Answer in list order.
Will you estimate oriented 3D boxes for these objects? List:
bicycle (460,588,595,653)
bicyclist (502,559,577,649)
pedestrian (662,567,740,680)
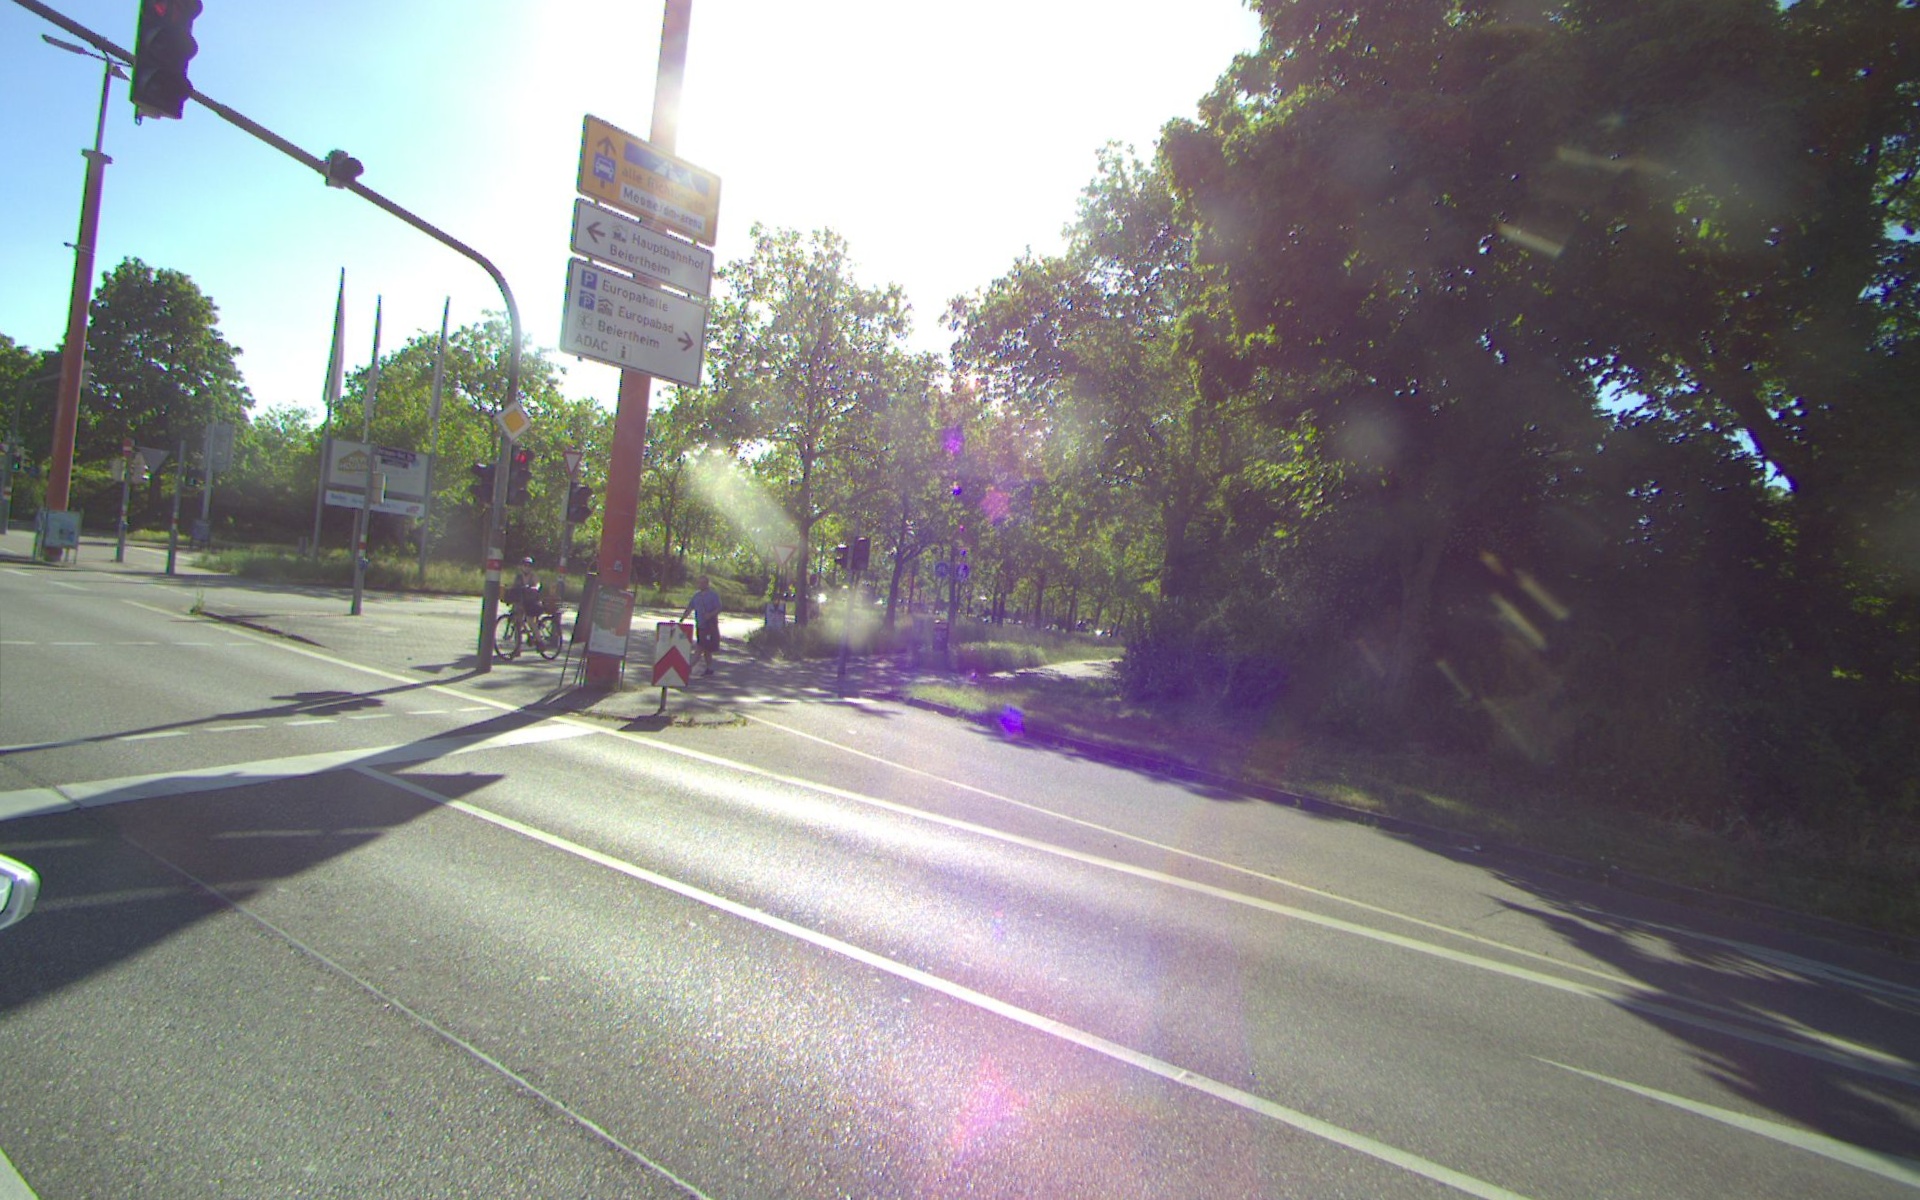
[{"bbox_3d":[-6.957,0.360,16.328,0.549,0.889,2.168,7,-1,22],"label":"bicycle"},{"bbox_3d":[-6.879,0.078,16.475,0.695,1.358,0.742,7,0,21],"label":"bicyclist"},{"bbox_3d":[-4.497,0.417,17.548,0.883,1.810,0.894,8,0,2],"label":"pedestrian"}]
